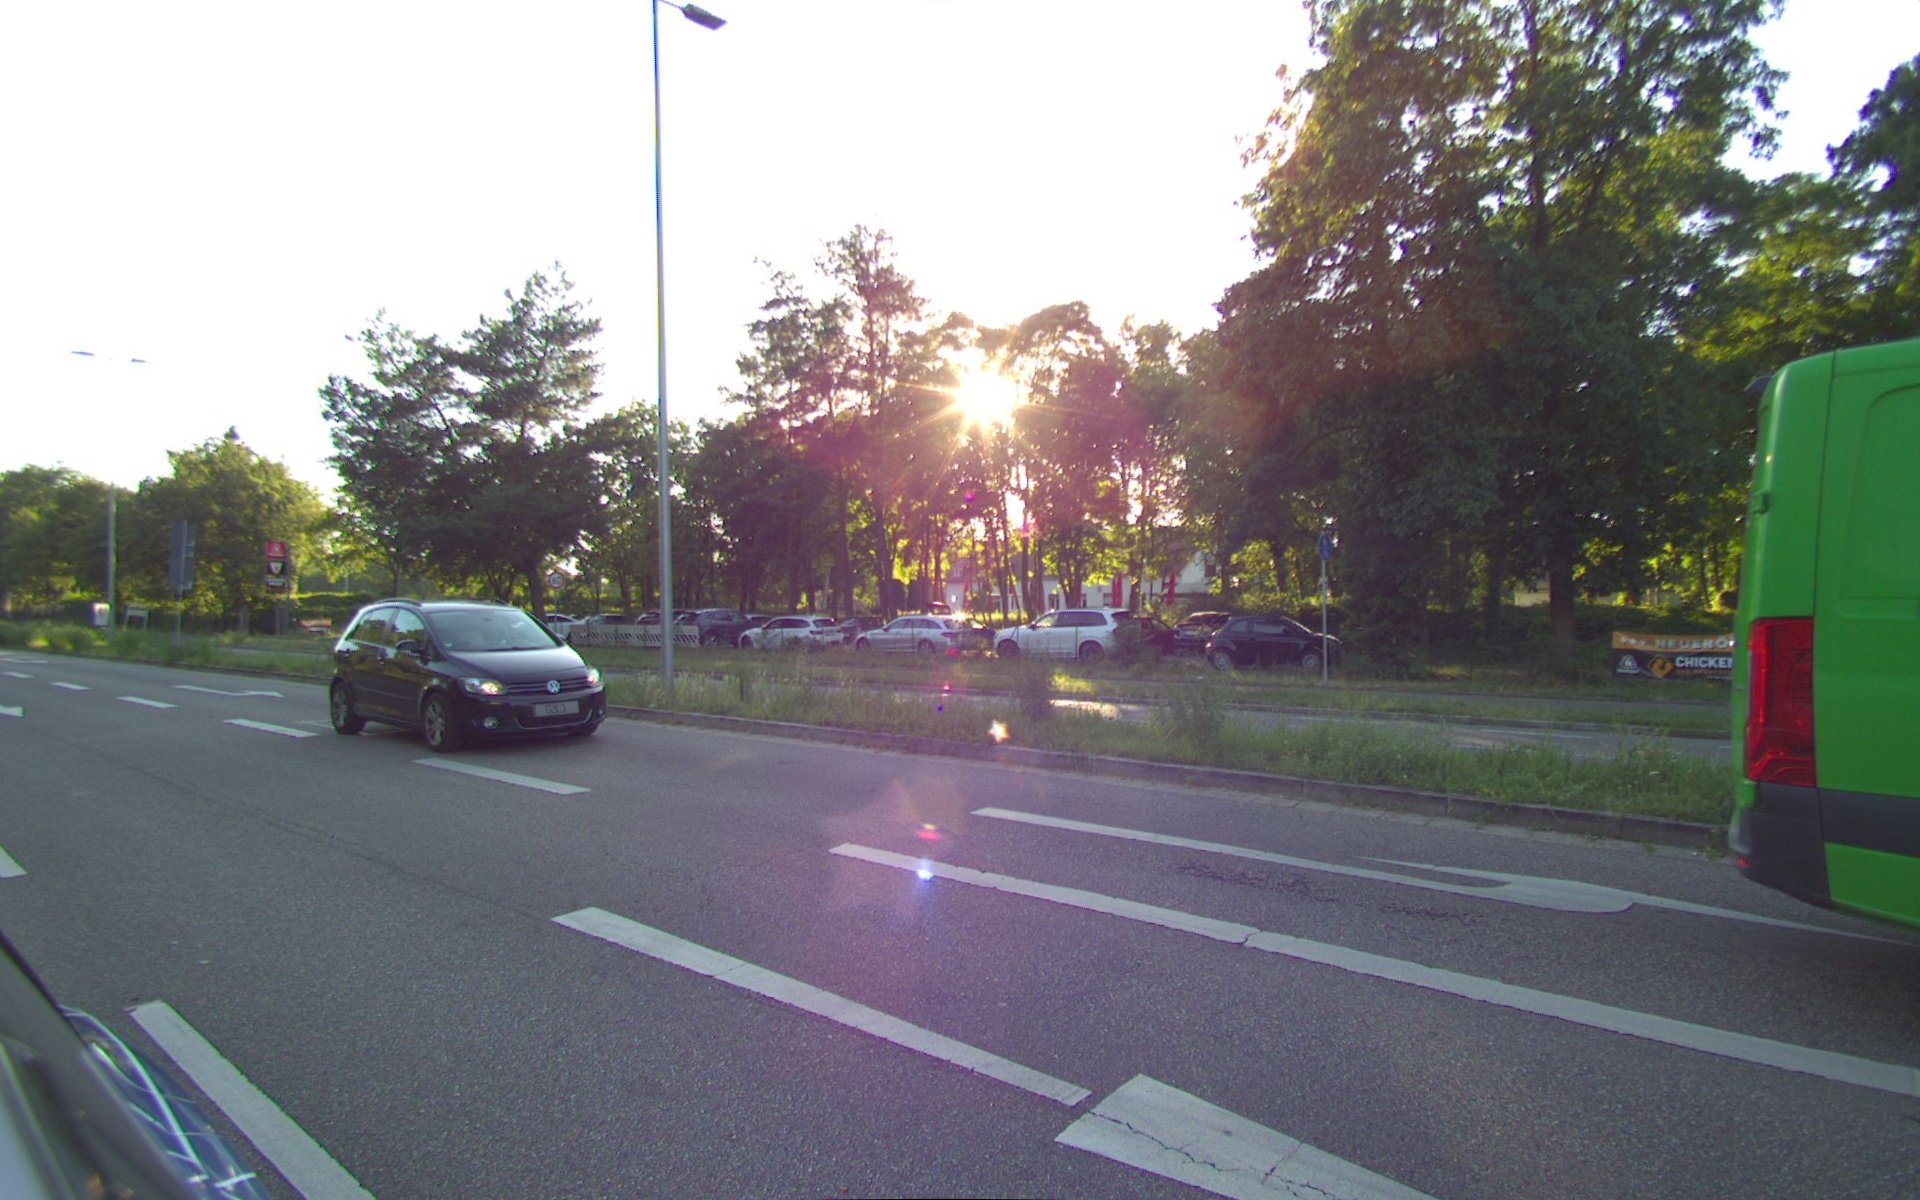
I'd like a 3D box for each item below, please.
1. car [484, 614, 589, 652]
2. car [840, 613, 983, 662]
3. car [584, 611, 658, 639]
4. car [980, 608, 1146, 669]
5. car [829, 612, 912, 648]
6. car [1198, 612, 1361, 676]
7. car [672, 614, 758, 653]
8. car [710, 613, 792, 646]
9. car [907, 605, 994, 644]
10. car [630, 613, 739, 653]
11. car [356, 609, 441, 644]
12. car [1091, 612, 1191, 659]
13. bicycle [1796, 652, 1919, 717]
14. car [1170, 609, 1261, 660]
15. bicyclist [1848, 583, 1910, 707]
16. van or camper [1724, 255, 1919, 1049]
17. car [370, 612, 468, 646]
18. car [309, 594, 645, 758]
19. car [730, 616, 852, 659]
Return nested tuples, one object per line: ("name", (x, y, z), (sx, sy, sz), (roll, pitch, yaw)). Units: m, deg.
("car", (-20.802, 1.621, 49.853), (1.908, 1.767, 4.441), (-1, -2, 39))
("car", (-1.744, 1.284, 35.601), (4.913, 1.619, 1.975), (-1, -2, 37))
("car", (-20.496, 1.505, 61.247), (1.765, 1.663, 3.947), (-1, -2, 40))
("car", (3.175, 1.175, 31.814), (4.913, 1.800, 1.975), (-1, -2, 37))
("car", (-4.319, 1.449, 49.056), (1.765, 1.663, 3.947), (-1, -2, 39))
("car", (8.574, 1.145, 27.259), (3.807, 1.609, 1.838), (-1, -2, 36))
("car", (-10.003, 1.361, 41.465), (1.657, 1.538, 3.060), (-1, -2, 38))
("car", (-10.901, 1.520, 52.958), (1.765, 1.663, 3.947), (-1, -2, 40))
("car", (-0.384, 1.102, 45.121), (1.765, 1.663, 3.947), (-1, -2, 39))
("car", (-11.897, 1.416, 43.951), (1.769, 1.629, 4.470), (-1, -2, 37))
("car", (-32.533, 1.516, 58.684), (1.764, 1.959, 3.949), (-1, -2, 38))
("car", (6.824, 1.310, 37.856), (1.918, 1.663, 3.944), (-1, -2, 42))
("bicycle", (14.362, 1.304, 15.739), (2.038, 0.940, 0.488), (-1, -2, 33))
("car", (9.002, 1.172, 35.453), (1.914, 1.663, 3.954), (-1, -1, 34))
("bicyclist", (14.325, 0.697, 15.787), (0.616, 1.888, 0.454), (-1, -2, 33))
("van or camper", (5.472, 0.134, 2.274), (5.891, 2.439, 1.973), (-1, -2, 40))
("car", (-30.250, 1.605, 56.672), (1.907, 1.811, 4.443), (-1, -2, 38))
("car", (-5.654, 0.768, 11.692), (3.995, 1.564, 1.974), (-1, -2, 39))
("car", (-6.603, 1.414, 39.304), (4.701, 1.560, 1.975), (-1, -2, 37))
